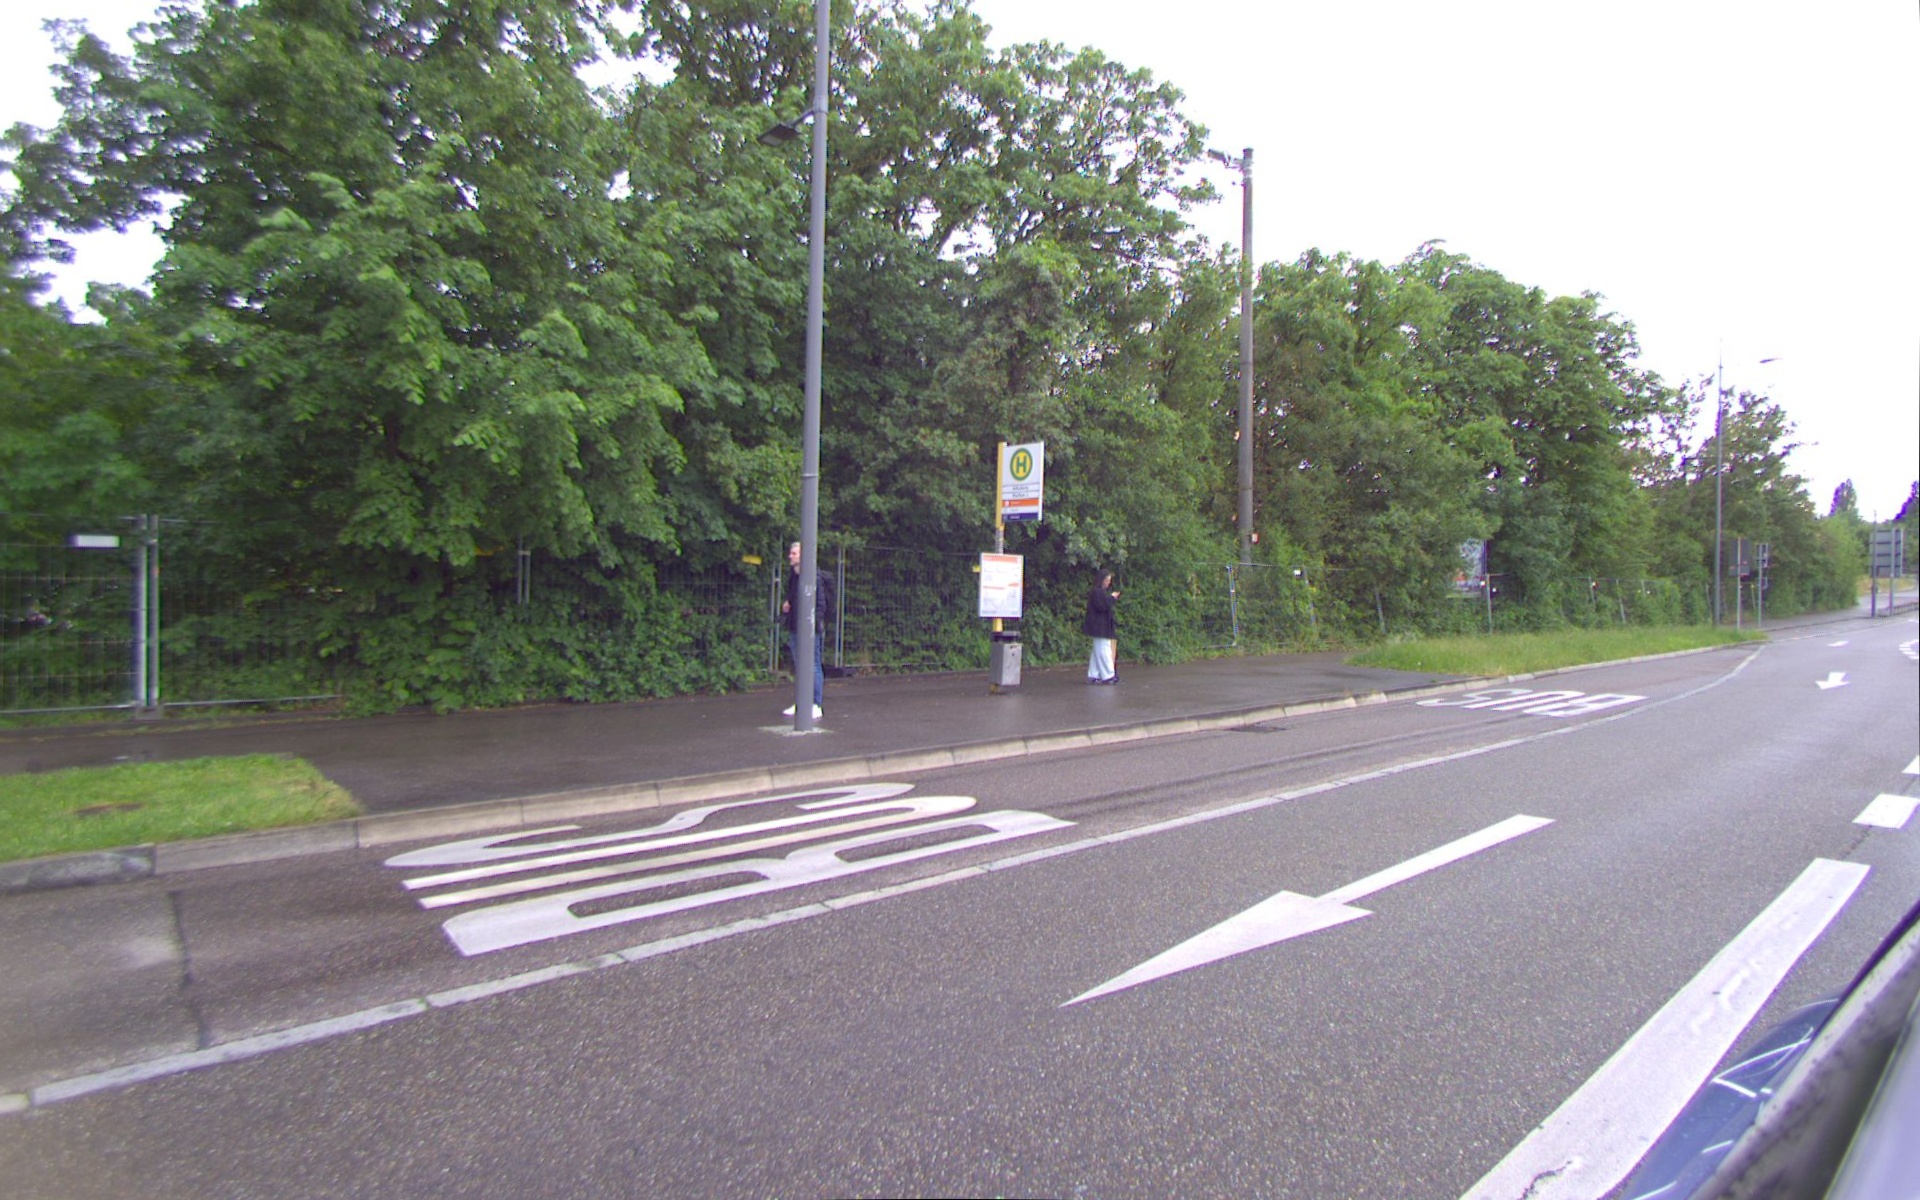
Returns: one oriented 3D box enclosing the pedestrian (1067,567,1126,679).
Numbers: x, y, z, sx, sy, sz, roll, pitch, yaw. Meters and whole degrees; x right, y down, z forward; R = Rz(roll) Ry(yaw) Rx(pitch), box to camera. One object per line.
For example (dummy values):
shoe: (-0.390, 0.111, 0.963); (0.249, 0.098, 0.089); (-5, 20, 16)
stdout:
pedestrian: (2.056, 0.326, 15.265); (0.650, 1.648, 0.588); (0, 1, -40)

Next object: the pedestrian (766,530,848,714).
pedestrian: (-1.715, 0.223, 11.329); (0.587, 1.973, 0.742); (0, 1, -40)
